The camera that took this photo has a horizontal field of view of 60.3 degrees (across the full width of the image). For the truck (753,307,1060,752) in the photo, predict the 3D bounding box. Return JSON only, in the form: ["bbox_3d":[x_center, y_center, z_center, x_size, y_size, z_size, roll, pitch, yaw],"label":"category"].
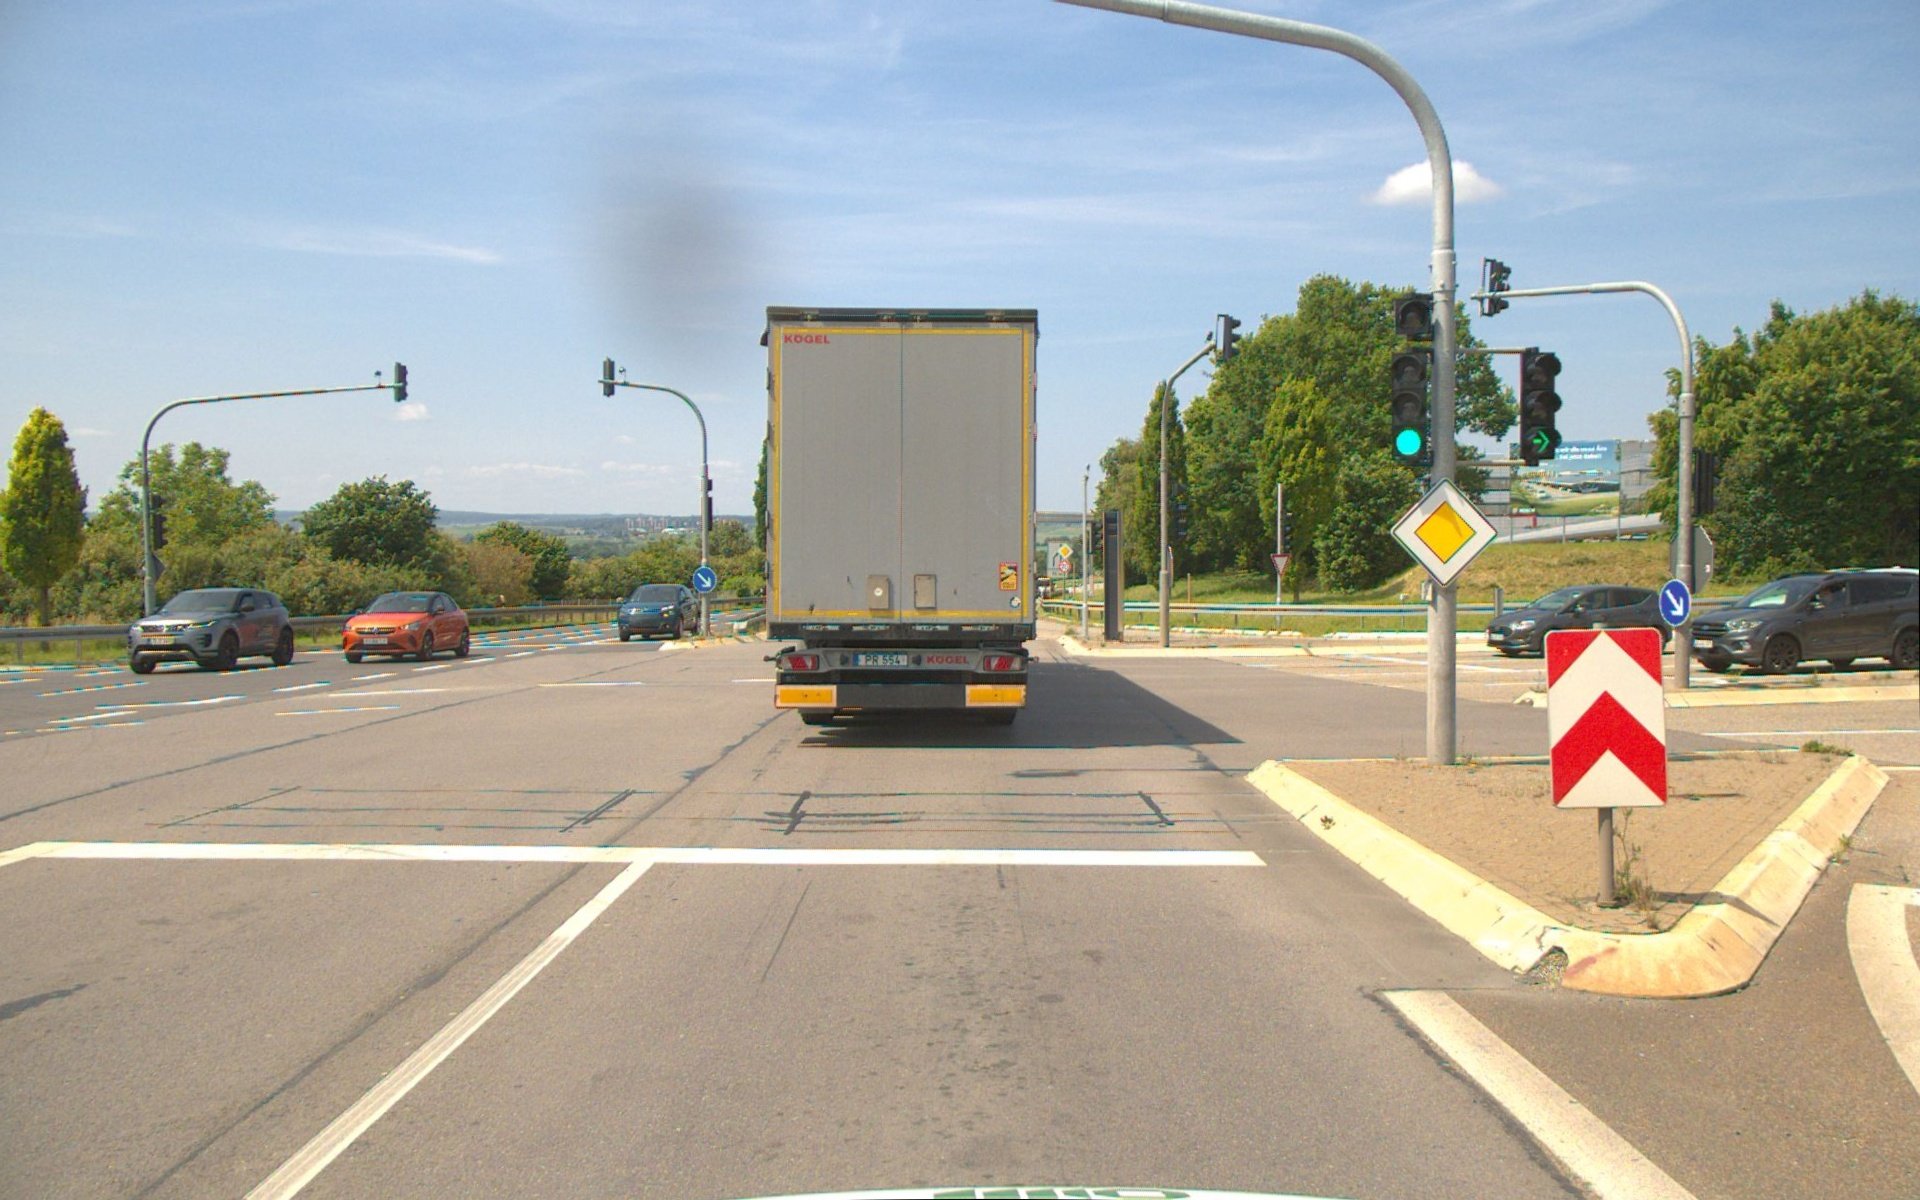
[{"bbox_3d":[-0.808,-0.676,20.660,2.744,3.998,11.334,1,0,-3],"label":"truck"}]

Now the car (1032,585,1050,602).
[{"bbox_3d":[8.217,-0.665,167.698,1.749,1.717,4.002,1,0,3],"label":"car"}]

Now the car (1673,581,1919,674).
[{"bbox_3d":[15.005,0.451,29.161,4.282,1.537,1.711,-1,0,-12],"label":"car"}]

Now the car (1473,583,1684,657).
[{"bbox_3d":[13.192,0.406,35.370,3.914,1.537,1.712,0,0,-10],"label":"car"}]

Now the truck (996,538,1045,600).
[{"bbox_3d":[4.069,-1.986,109.574,2.599,3.830,10.168,1,0,5],"label":"truck"}]

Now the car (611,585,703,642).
[{"bbox_3d":[-8.375,0.343,46.007,1.719,1.494,4.196,-1,0,0],"label":"car"}]

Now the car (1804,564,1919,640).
[{"bbox_3d":[21.721,0.003,37.622,4.279,1.620,1.776,-2,0,-10],"label":"car"}]

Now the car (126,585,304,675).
[{"bbox_3d":[-15.063,0.580,33.710,1.610,1.652,4.328,-2,0,0],"label":"car"}]

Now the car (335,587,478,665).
[{"bbox_3d":[-11.880,0.513,35.740,1.610,1.523,4.066,-2,0,1],"label":"car"}]
